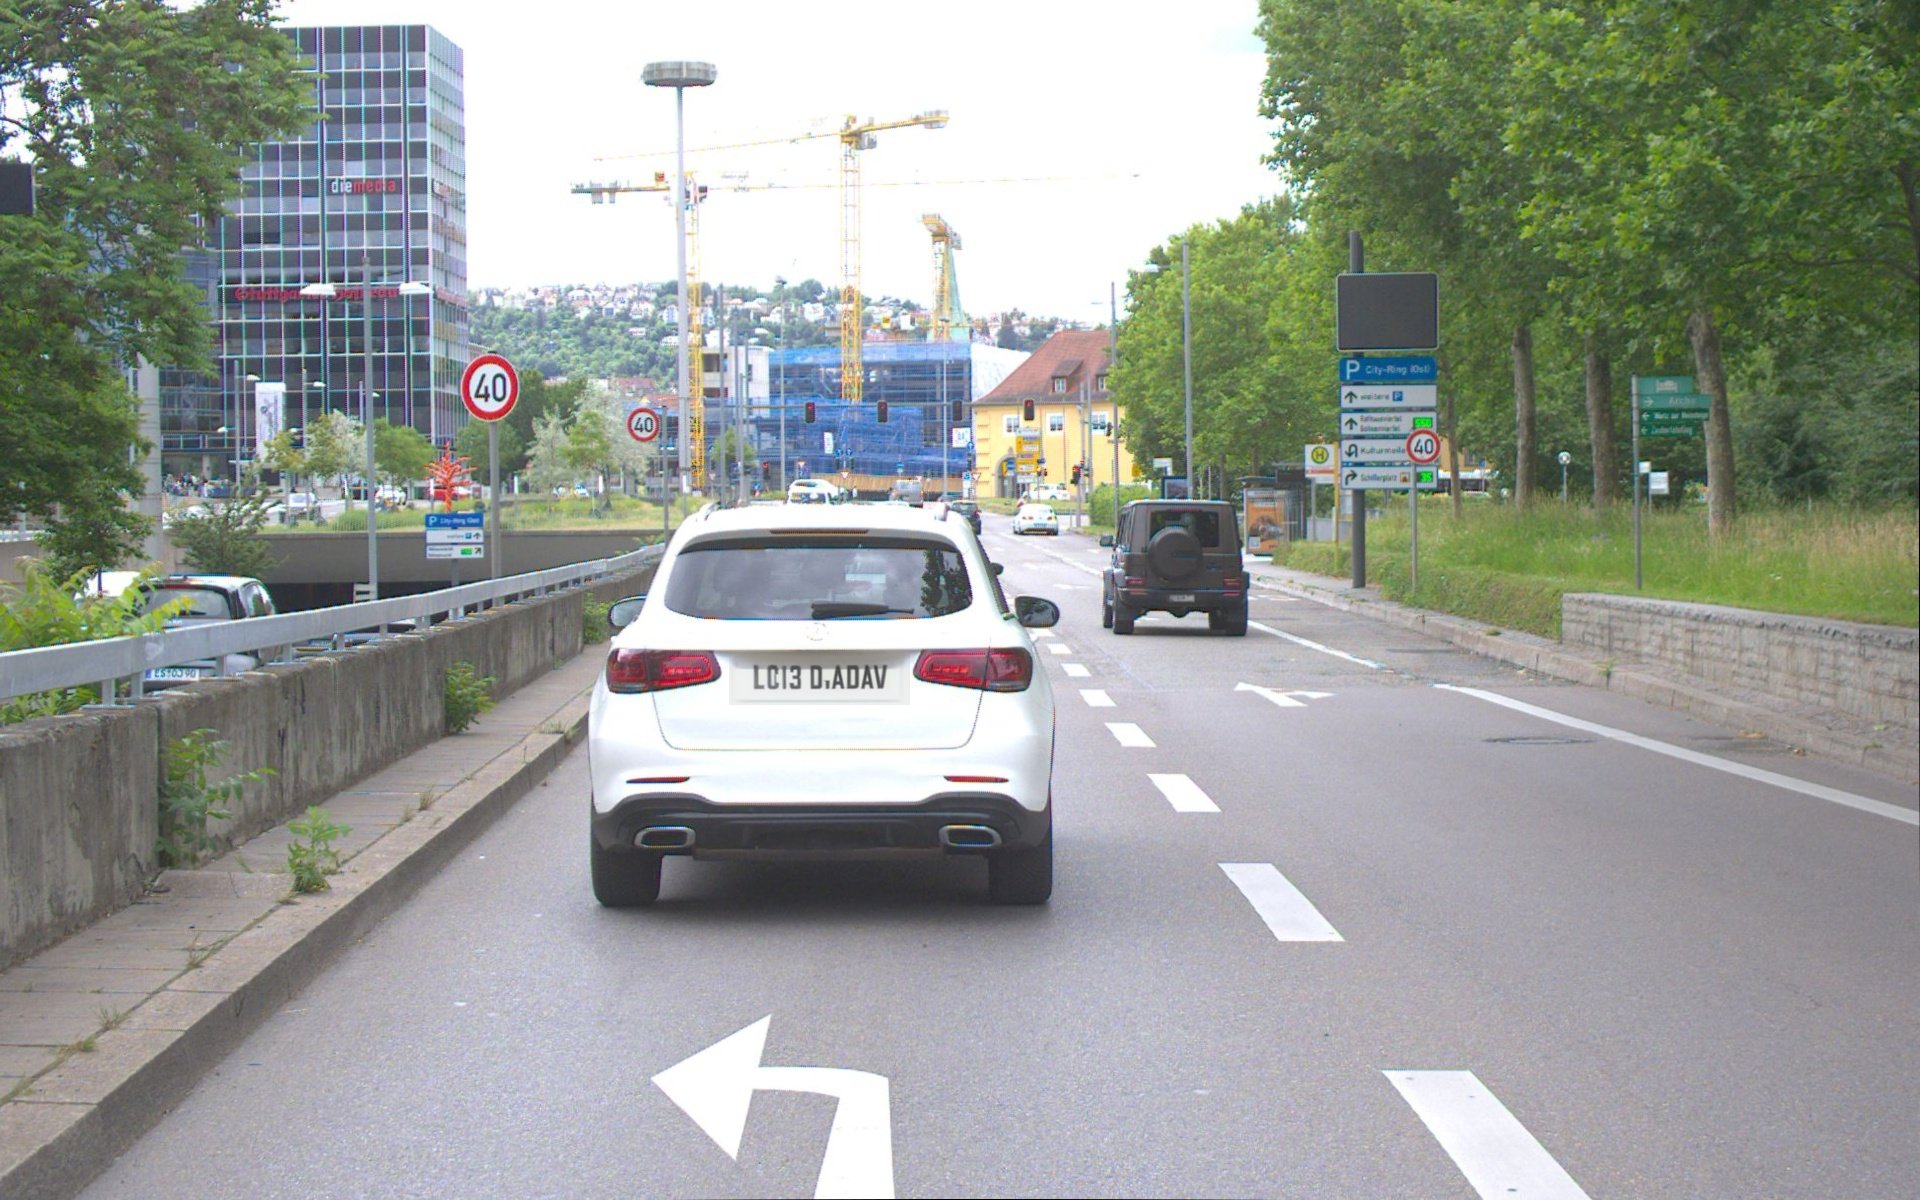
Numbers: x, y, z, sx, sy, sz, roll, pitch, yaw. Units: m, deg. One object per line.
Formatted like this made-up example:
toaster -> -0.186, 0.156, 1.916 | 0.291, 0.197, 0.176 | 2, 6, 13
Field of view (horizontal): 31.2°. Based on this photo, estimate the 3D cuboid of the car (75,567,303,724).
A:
car -> -7.822, 0.433, 35.149 | 1.627, 1.504, 3.540 | 1, 0, -2

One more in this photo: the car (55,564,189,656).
car -> -20.667, 0.216, 85.048 | 1.975, 2.158, 6.213 | 1, 0, -2

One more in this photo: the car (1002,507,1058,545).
car -> 3.211, -3.396, 158.225 | 1.993, 1.612, 4.001 | 2, 0, -7

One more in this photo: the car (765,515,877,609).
car -> -2.504, -0.705, 61.711 | 1.922, 1.596, 4.001 | 1, 1, -3

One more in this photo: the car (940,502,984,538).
car -> 0.095, -3.680, 157.971 | 1.719, 1.579, 4.001 | 2, 1, -4

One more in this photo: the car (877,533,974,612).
car -> -0.764, -0.612, 73.166 | 1.922, 1.596, 4.001 | 1, 1, -3

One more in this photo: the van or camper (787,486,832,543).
van or camper -> -6.586, -3.731, 150.254 | 1.922, 2.312, 4.000 | 1, -1, -3

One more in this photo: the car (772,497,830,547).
car -> -5.912, -2.895, 128.181 | 1.993, 1.751, 4.000 | 2, 0, -1

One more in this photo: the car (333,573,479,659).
car -> -9.203, 0.247, 57.354 | 1.719, 1.288, 4.000 | 2, 1, 1

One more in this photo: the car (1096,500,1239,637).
car -> 3.063, -0.455, 51.483 | 1.978, 1.887, 4.707 | 2, 0, 2

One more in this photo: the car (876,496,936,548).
car -> -1.959, -2.805, 124.262 | 1.993, 1.774, 4.000 | 2, 0, -3

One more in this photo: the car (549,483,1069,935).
car -> -0.661, 0.397, 14.985 | 1.940, 1.678, 4.000 | -1, 0, -3

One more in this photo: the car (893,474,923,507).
car -> -3.394, -7.105, 223.282 | 1.800, 2.007, 4.000 | 2, 0, -3

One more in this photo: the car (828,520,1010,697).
car -> -0.437, 0.085, 34.683 | 1.672, 1.622, 4.000 | 2, 0, -1

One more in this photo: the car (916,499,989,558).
car -> -0.244, -2.164, 104.774 | 1.993, 1.656, 4.000 | 2, 0, -3

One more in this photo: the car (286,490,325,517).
car -> -36.265, -5.355, 190.591 | 1.832, 1.355, 3.869 | 2, 0, -7
